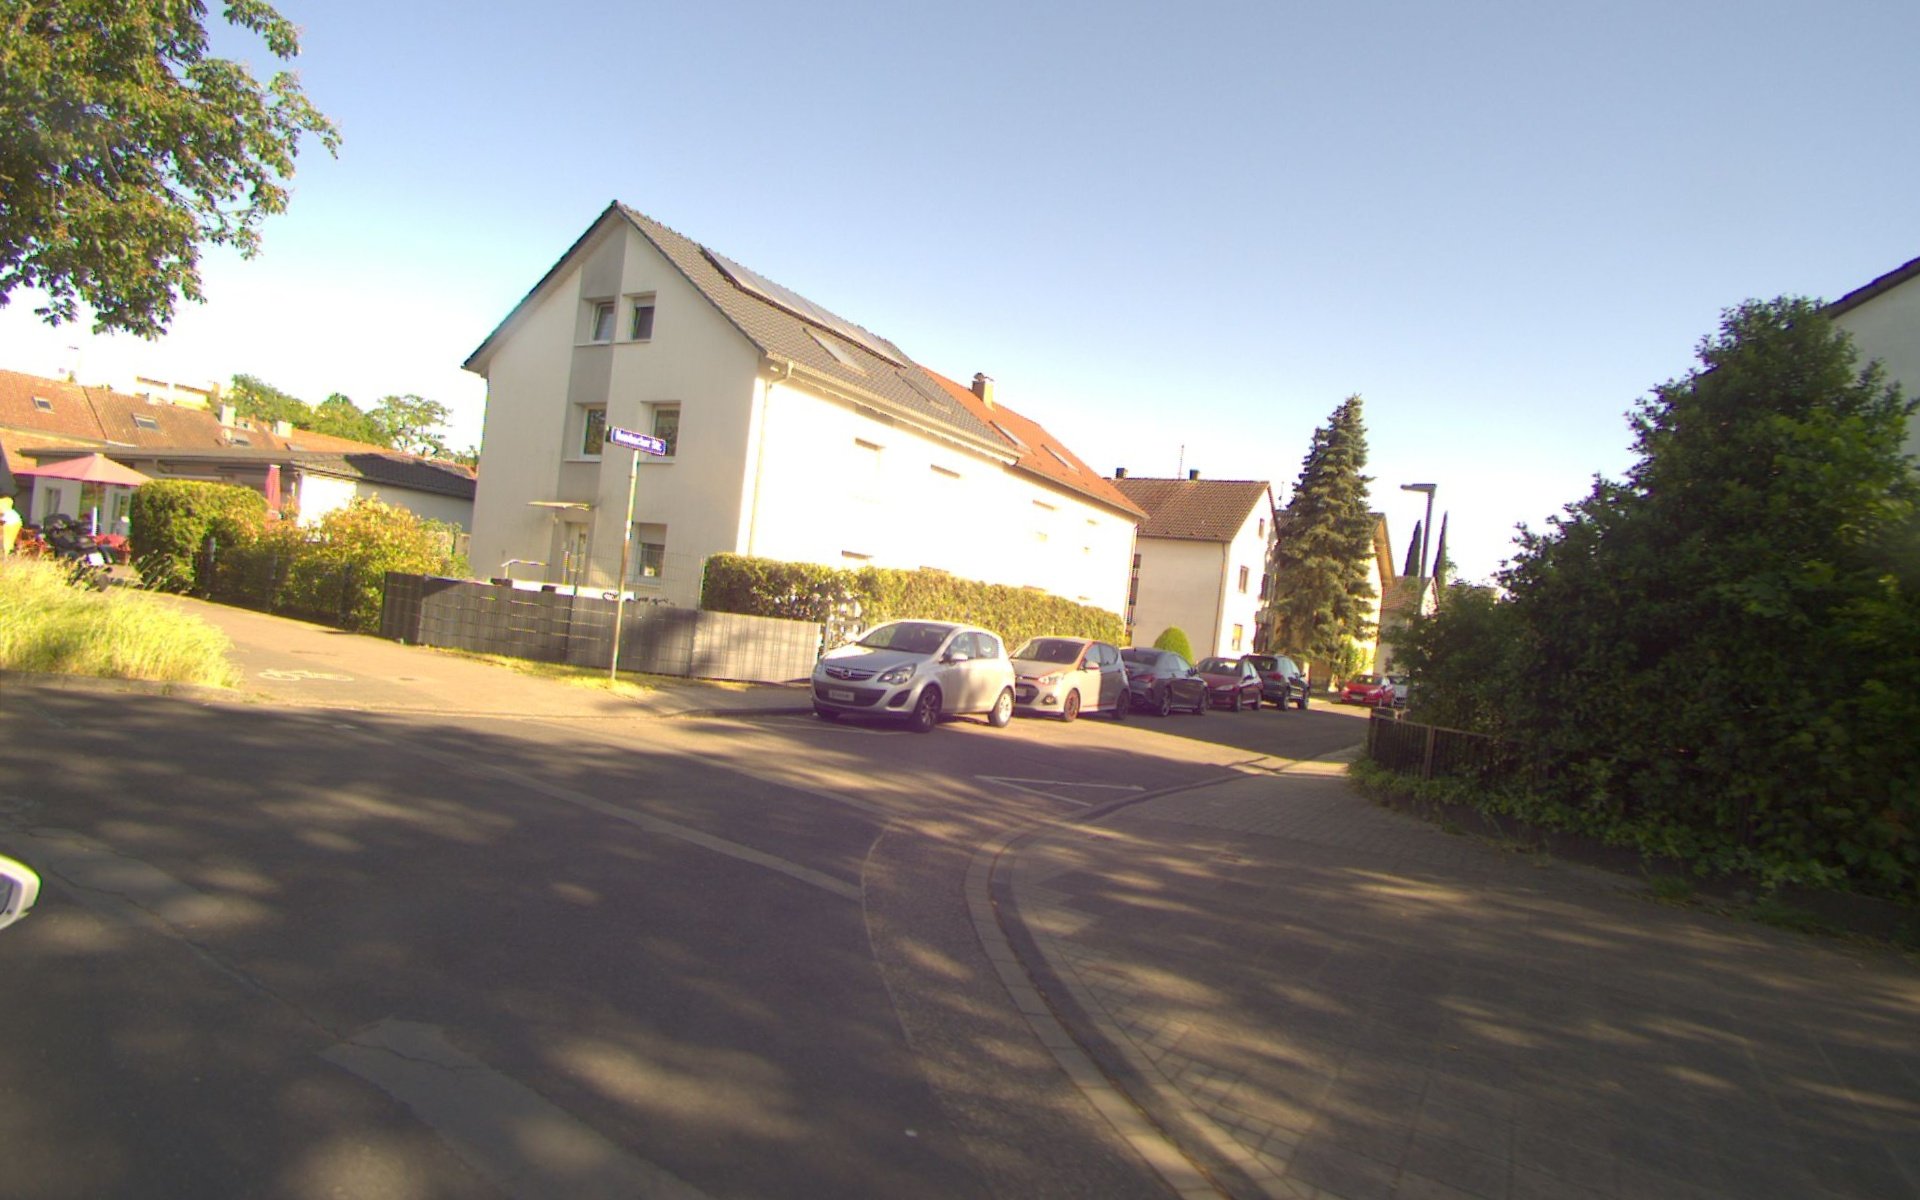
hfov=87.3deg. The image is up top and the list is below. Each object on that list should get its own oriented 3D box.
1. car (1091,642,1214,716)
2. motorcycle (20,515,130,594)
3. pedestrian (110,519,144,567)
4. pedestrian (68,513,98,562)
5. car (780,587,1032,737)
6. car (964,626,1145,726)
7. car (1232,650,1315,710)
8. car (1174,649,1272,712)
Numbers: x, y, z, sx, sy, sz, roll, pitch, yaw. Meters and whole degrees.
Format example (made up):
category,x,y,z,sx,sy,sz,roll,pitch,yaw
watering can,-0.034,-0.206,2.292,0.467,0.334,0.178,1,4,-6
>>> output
category,x,y,z,sx,sy,sz,roll,pitch,yaw
car,4.374,1.688,22.437,1.398,1.340,3.823,7,2,30
motorcycle,-16.393,-0.858,18.611,2.312,1.242,0.818,6,1,31
pedestrian,-25.906,-1.775,31.304,0.656,1.427,0.489,4,1,-30
pedestrian,-26.449,-1.890,30.343,0.629,1.400,0.439,5,-2,37
car,-0.592,0.883,14.352,1.745,1.659,3.998,6,-1,25
car,1.856,1.410,18.642,1.818,1.461,3.754,6,-1,30
car,10.049,2.561,32.110,1.620,1.627,3.690,6,-1,30
car,7.418,2.262,28.184,1.620,1.475,3.690,6,-1,30
